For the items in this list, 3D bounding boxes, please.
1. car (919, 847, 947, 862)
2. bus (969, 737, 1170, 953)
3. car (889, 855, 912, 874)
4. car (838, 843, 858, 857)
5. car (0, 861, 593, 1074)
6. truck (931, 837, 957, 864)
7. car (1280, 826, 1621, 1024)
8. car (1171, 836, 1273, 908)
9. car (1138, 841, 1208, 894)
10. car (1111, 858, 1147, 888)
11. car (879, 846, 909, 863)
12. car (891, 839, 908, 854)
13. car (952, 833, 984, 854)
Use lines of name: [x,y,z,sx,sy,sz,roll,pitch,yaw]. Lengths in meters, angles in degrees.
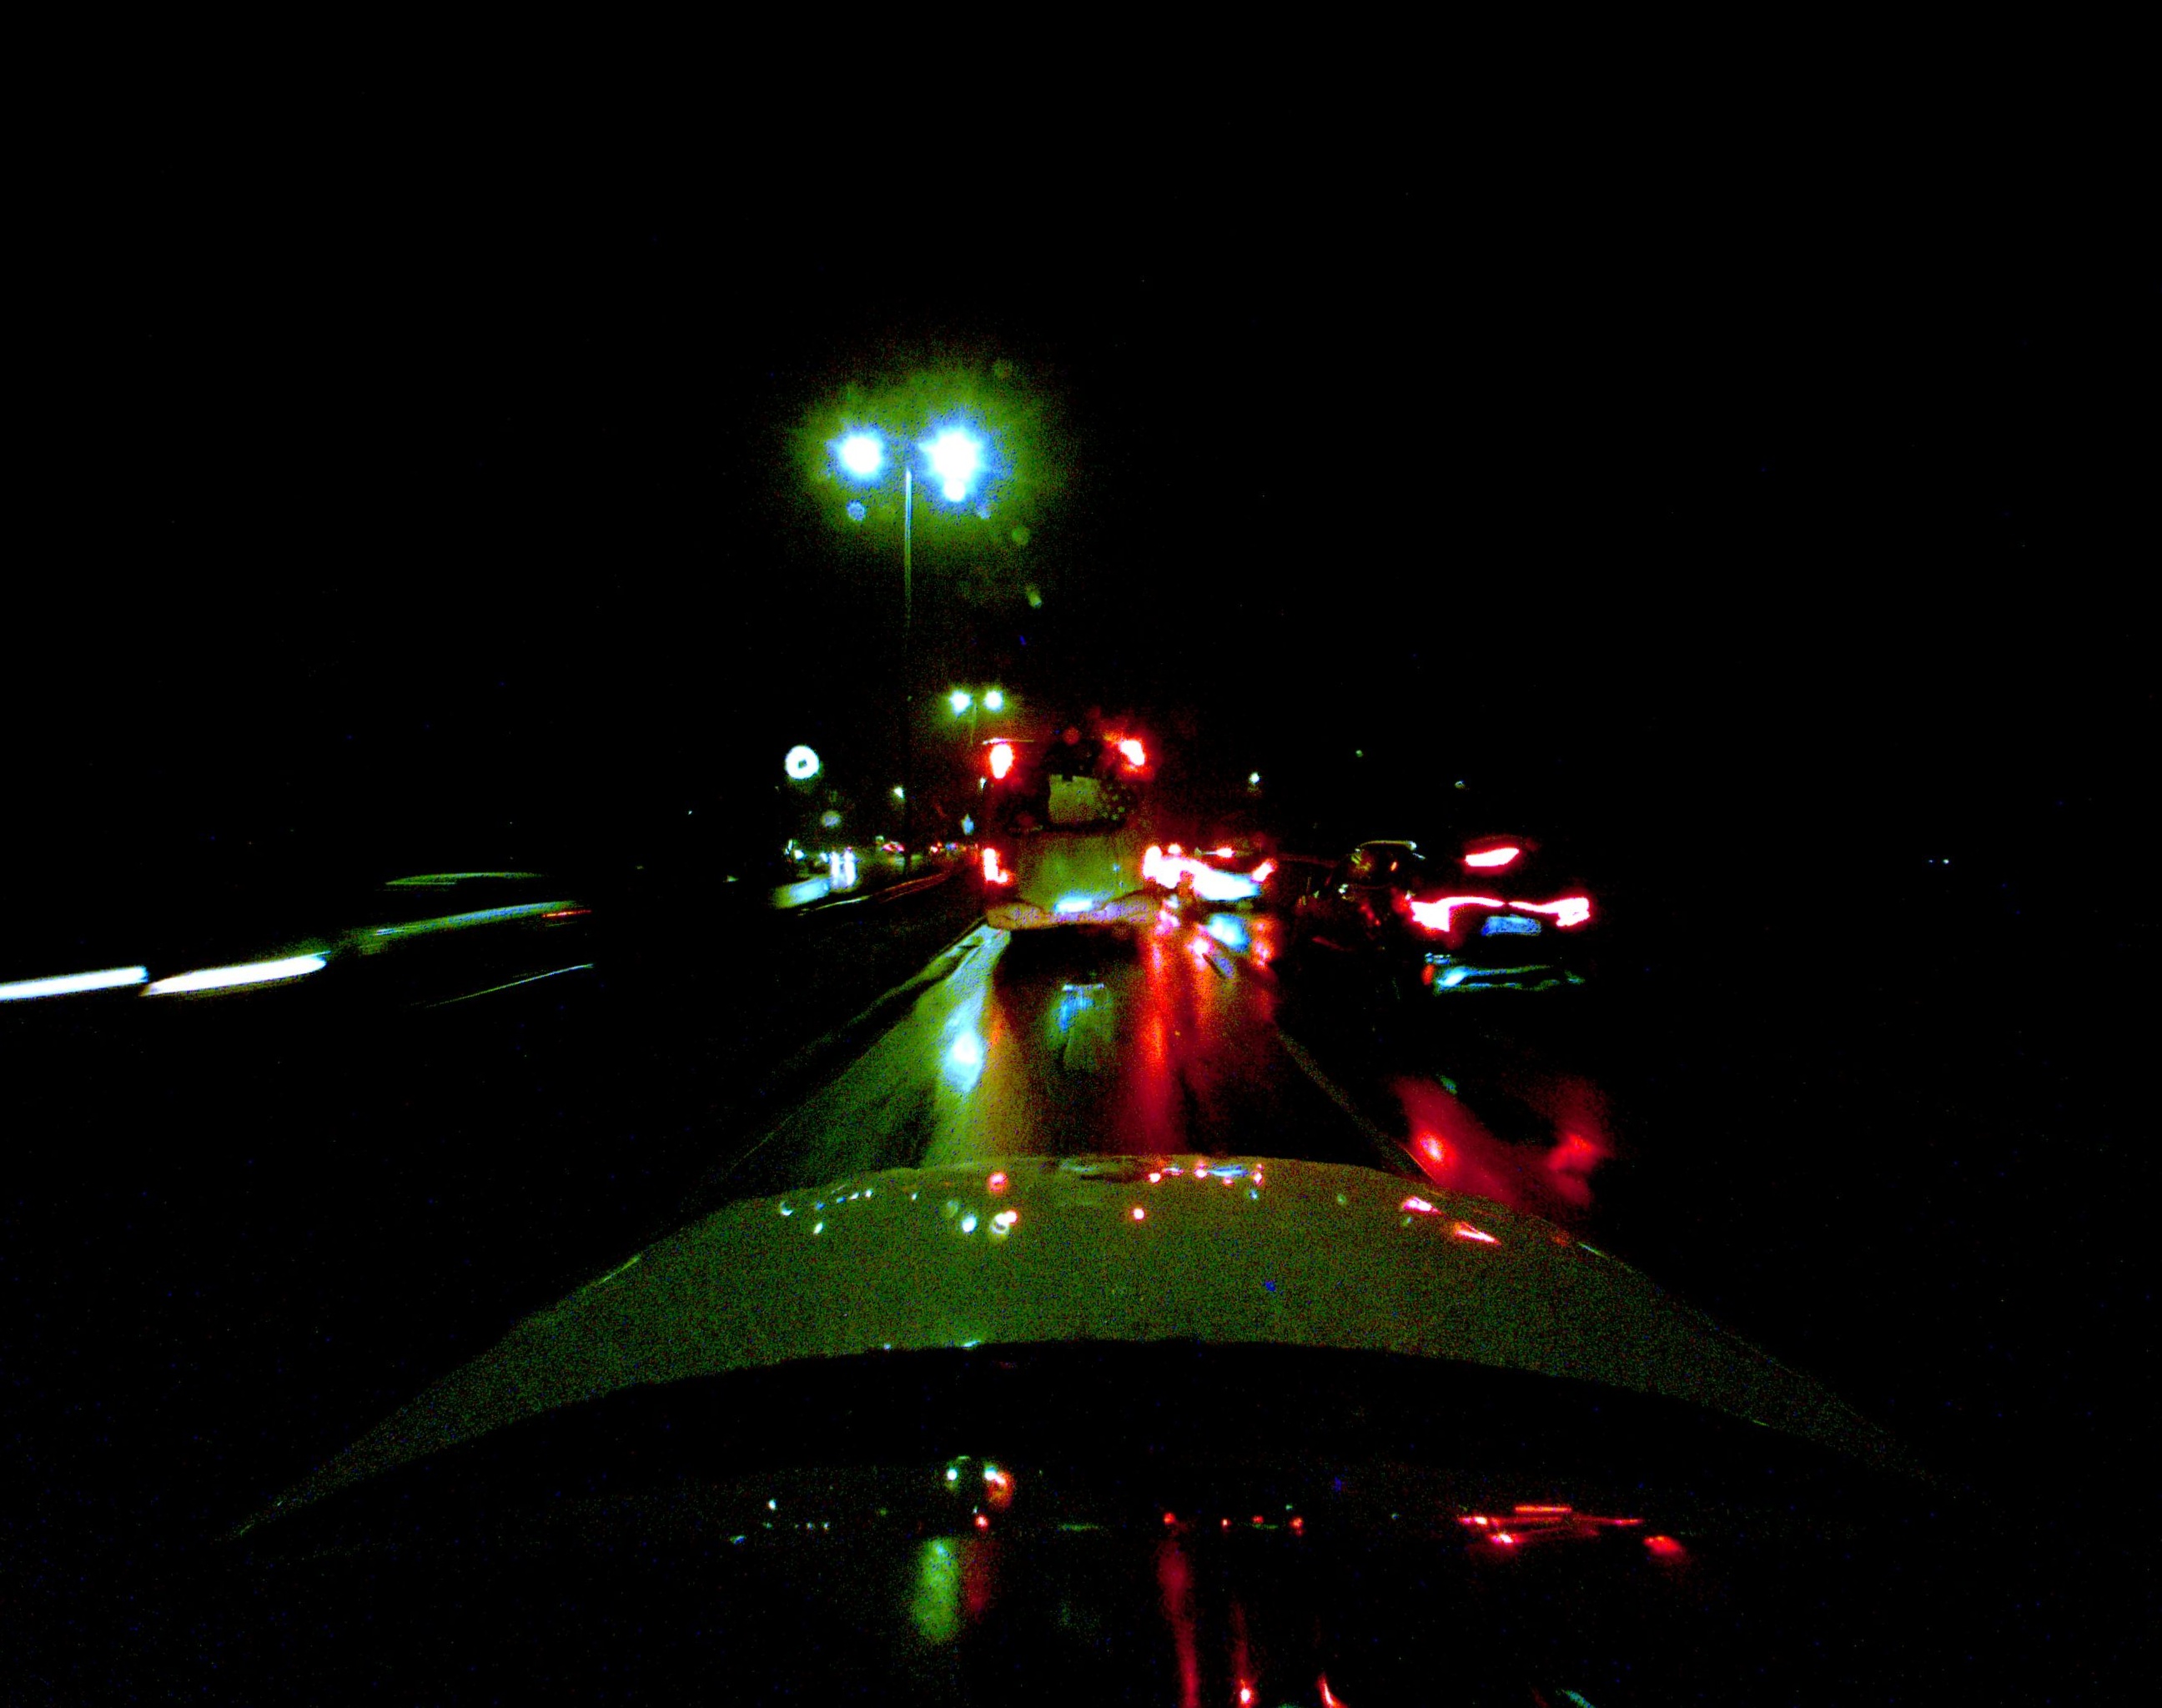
car: [-16.504,0.028,90.853,1.764,1.631,3.585,1,-1,-34]
bus: [-0.122,-0.147,15.768,2.806,3.024,8.687,0,0,0]
car: [-19.582,1.117,88.192,2.000,2.013,3.973,-1,0,-20]
car: [-33.193,-0.572,115.917,2.005,2.014,3.964,1,0,-27]
car: [-7.291,0.872,8.424,1.812,1.394,4.457,-5,1,-2]
truck: [-13.607,-0.387,80.811,1.861,2.392,4.751,-3,3,-18]
car: [3.396,0.552,8.337,1.734,1.564,3.775,0,0,-1]
car: [3.414,0.396,20.385,1.814,1.590,3.775,-2,0,-1]
car: [3.007,0.403,27.229,1.814,1.590,3.775,-2,0,-1]
car: [2.553,1.007,44.377,1.773,1.543,3.875,0,0,0]
car: [-23.494,0.038,102.158,2.229,2.013,3.955,-1,0,-37]
car: [-25.246,-1.021,113.210,2.122,2.014,3.985,0,0,-11]
car: [-11.508,-1.010,82.752,2.004,2.014,3.965,1,0,-26]
